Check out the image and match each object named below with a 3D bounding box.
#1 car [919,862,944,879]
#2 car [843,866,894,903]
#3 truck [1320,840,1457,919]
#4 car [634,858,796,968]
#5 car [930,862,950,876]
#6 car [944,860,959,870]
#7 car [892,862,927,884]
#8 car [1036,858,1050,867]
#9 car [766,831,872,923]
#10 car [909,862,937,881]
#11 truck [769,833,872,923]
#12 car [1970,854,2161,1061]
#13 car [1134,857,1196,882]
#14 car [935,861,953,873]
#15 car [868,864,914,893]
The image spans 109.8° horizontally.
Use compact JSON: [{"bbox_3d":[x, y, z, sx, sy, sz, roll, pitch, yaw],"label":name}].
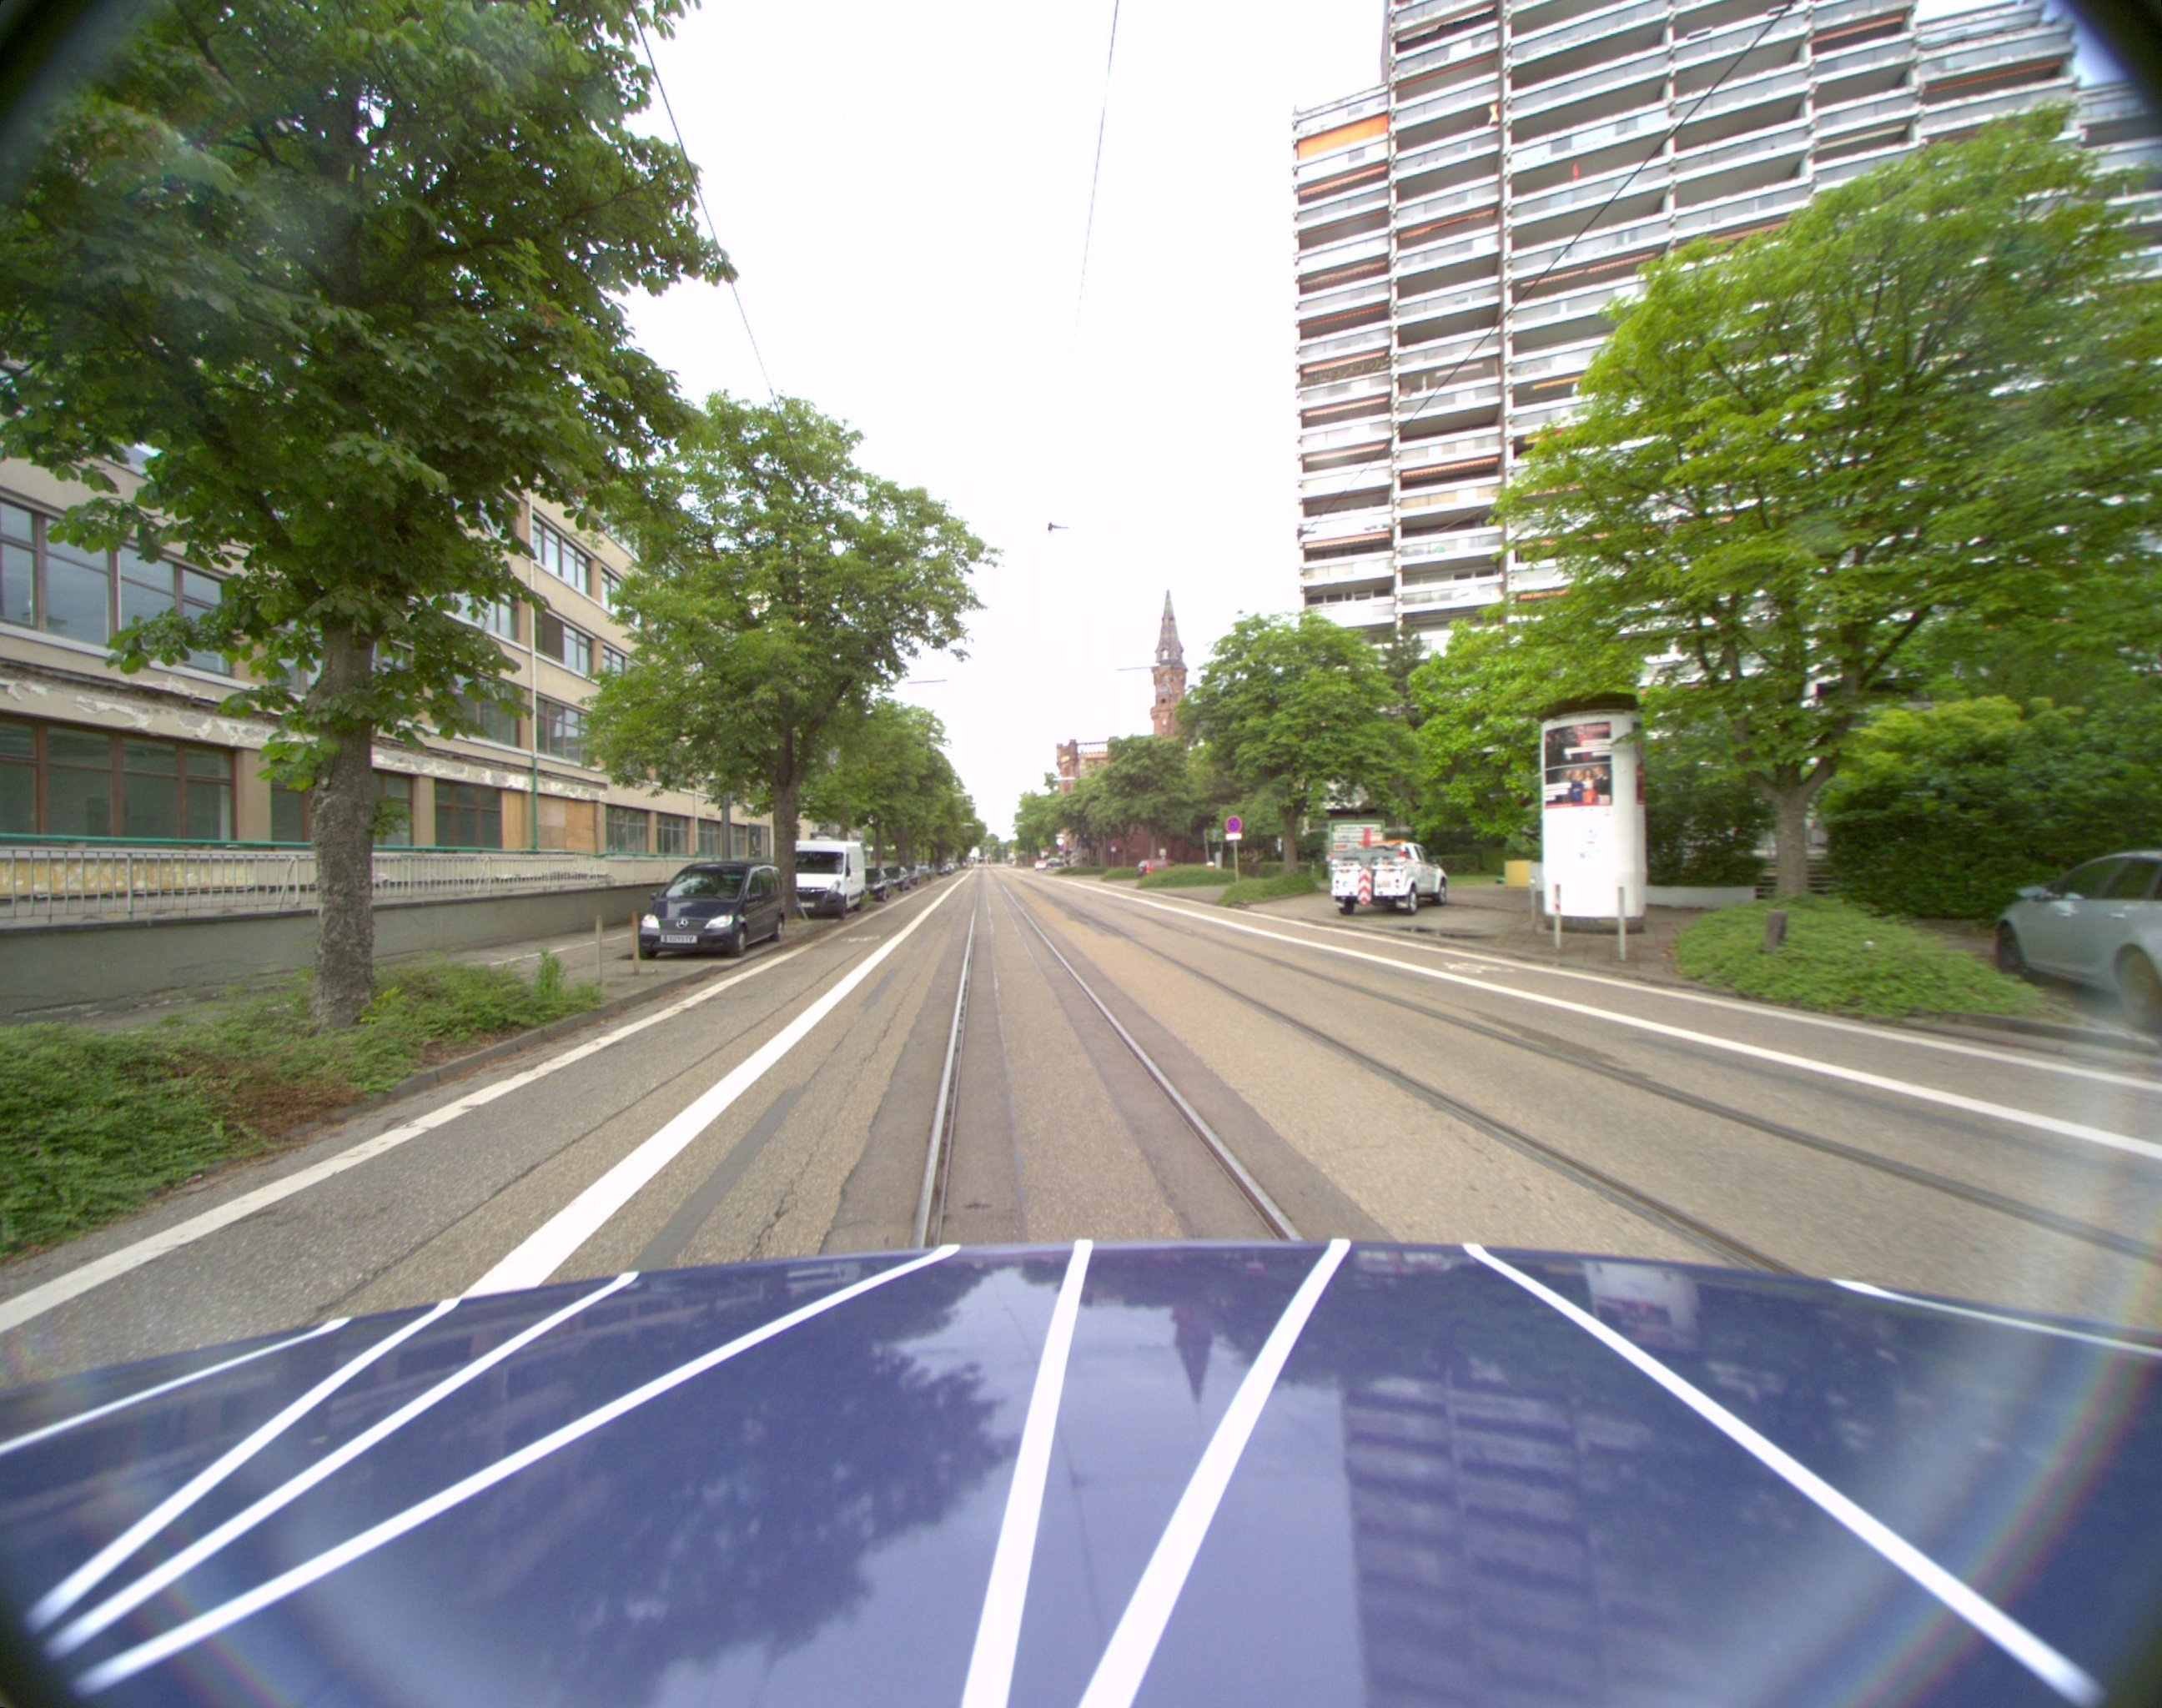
[{"bbox_3d":[-14.237,1.545,72.417,2.000,1.452,4.390,-2,0,-7],"label":"car"},{"bbox_3d":[-9.433,1.325,34.010,1.827,1.491,4.102,1,0,-11],"label":"car"},{"bbox_3d":[8.385,0.583,20.405,1.994,1.837,5.074,-2,0,39],"label":"truck"},{"bbox_3d":[-7.121,1.040,15.259,1.659,1.802,4.081,-2,1,-7],"label":"car"},{"bbox_3d":[-16.151,1.700,87.133,2.000,1.452,4.390,-2,0,-7],"label":"car"},{"bbox_3d":[-19.203,1.599,112.485,2.000,1.452,4.390,-2,0,-7],"label":"car"},{"bbox_3d":[-12.421,1.374,55.185,2.000,1.452,4.390,-2,0,-7],"label":"car"},{"bbox_3d":[-6.053,1.346,120.811,2.000,1.521,3.997,-1,0,-7],"label":"car"},{"bbox_3d":[-8.315,0.679,24.724,2.119,2.587,5.488,-2,0,-8],"label":"car"},{"bbox_3d":[-13.340,1.443,64.423,2.000,1.452,4.390,-2,0,-7],"label":"car"},{"bbox_3d":[-8.300,0.709,24.759,2.119,2.587,5.488,0,0,-8],"label":"truck"},{"bbox_3d":[9.948,0.788,6.658,1.798,1.456,4.441,-1,1,36],"label":"car"},{"bbox_3d":[5.331,0.961,48.390,3.506,1.369,1.631,-2,1,-21],"label":"car"},{"bbox_3d":[-17.764,1.629,98.745,2.000,1.452,4.390,-2,0,-7],"label":"car"},{"bbox_3d":[-10.747,1.341,43.342,2.000,1.452,4.390,-2,0,-7],"label":"car"}]
